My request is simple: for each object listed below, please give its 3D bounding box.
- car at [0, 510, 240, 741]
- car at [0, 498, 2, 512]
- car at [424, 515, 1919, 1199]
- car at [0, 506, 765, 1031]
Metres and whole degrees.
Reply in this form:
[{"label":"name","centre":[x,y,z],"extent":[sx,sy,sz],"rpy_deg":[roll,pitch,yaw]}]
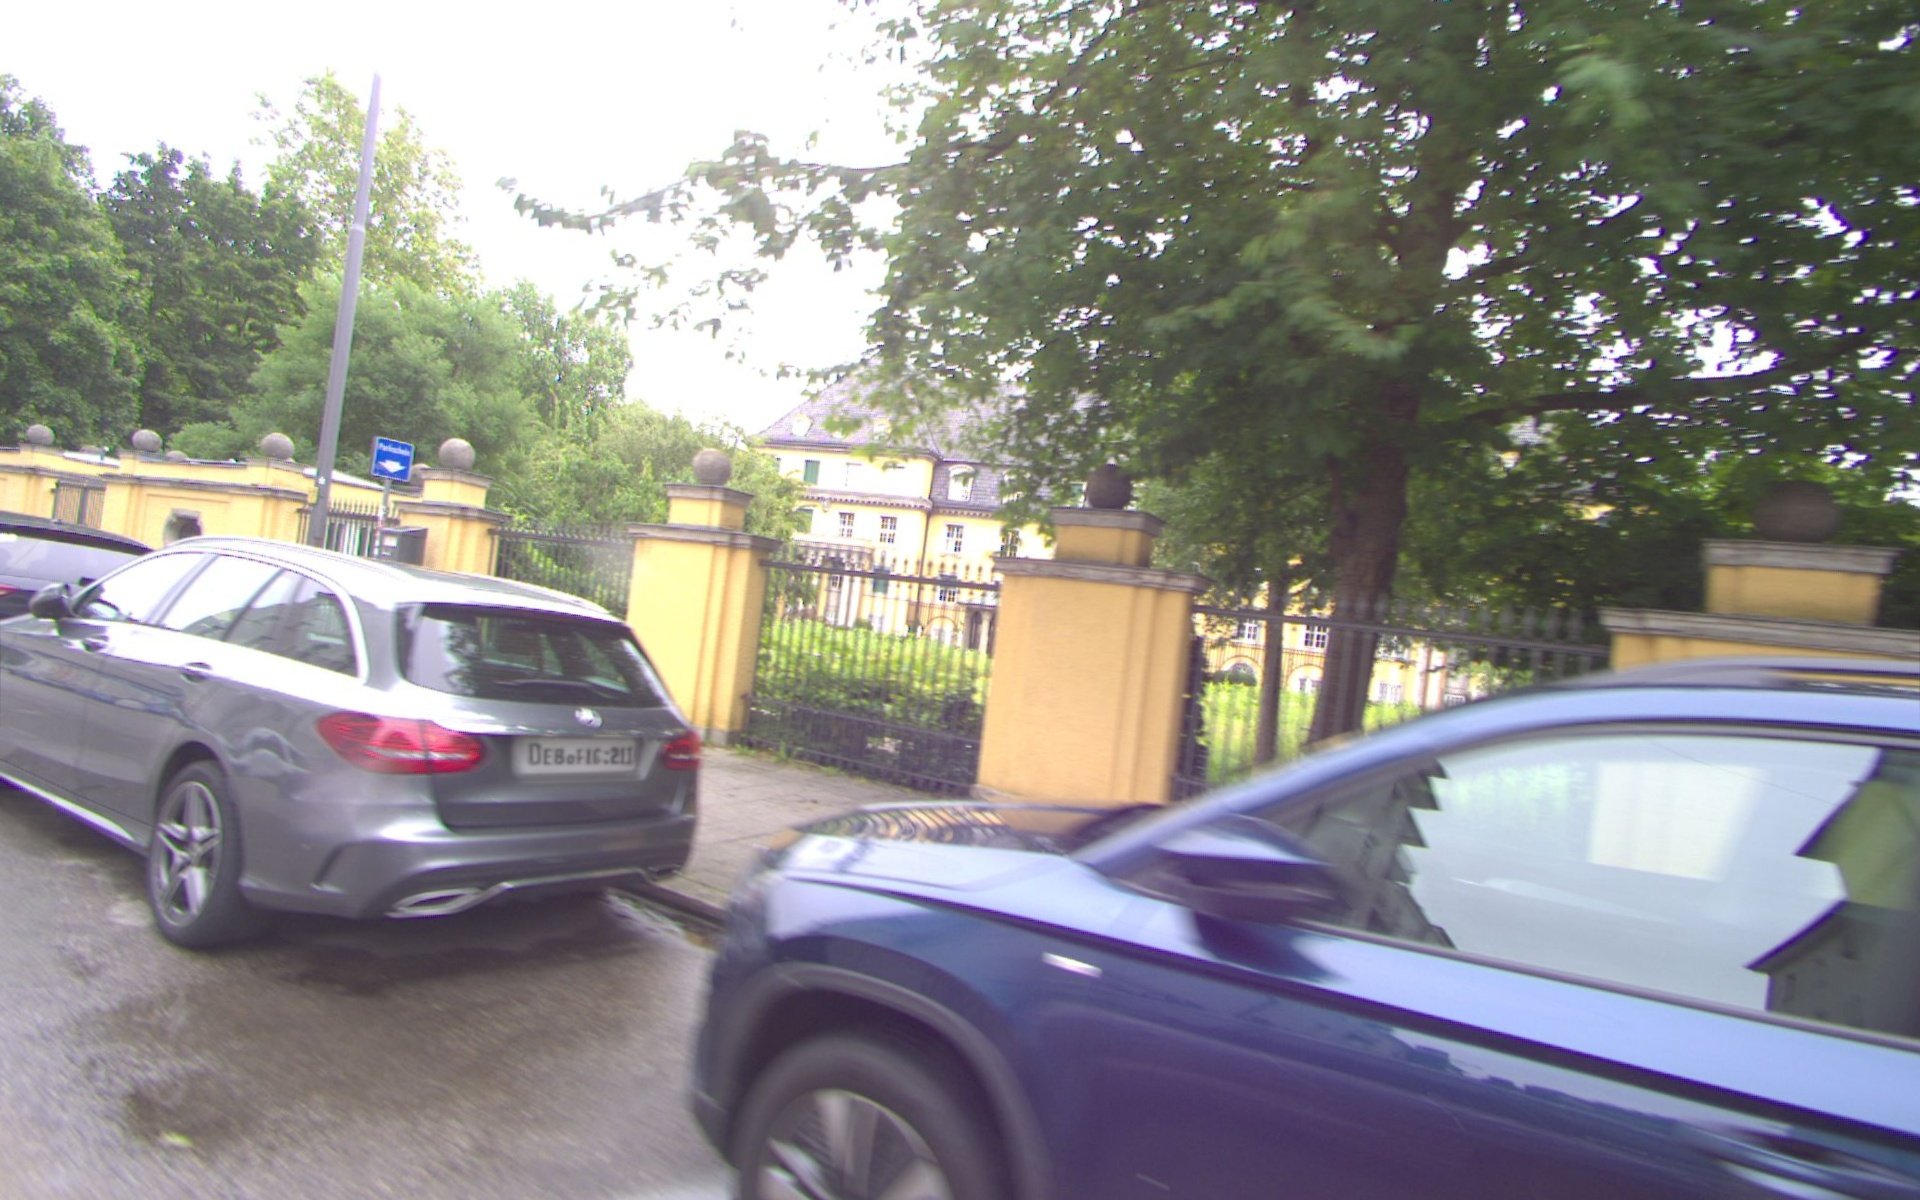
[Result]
[{"label":"car","centre":[-7.497,0.025,7.613],"extent":[3.968,1.430,1.697],"rpy_deg":[6,-3,30]},{"label":"car","centre":[-10.861,-0.417,9.724],"extent":[2.822,1.583,1.512],"rpy_deg":[6,-3,32]},{"label":"car","centre":[1.097,0.863,2.139],"extent":[4.613,1.589,1.716],"rpy_deg":[6,-1,31]},{"label":"car","centre":[-3.255,0.451,4.921],"extent":[4.441,1.431,1.694],"rpy_deg":[6,-1,32]}]
